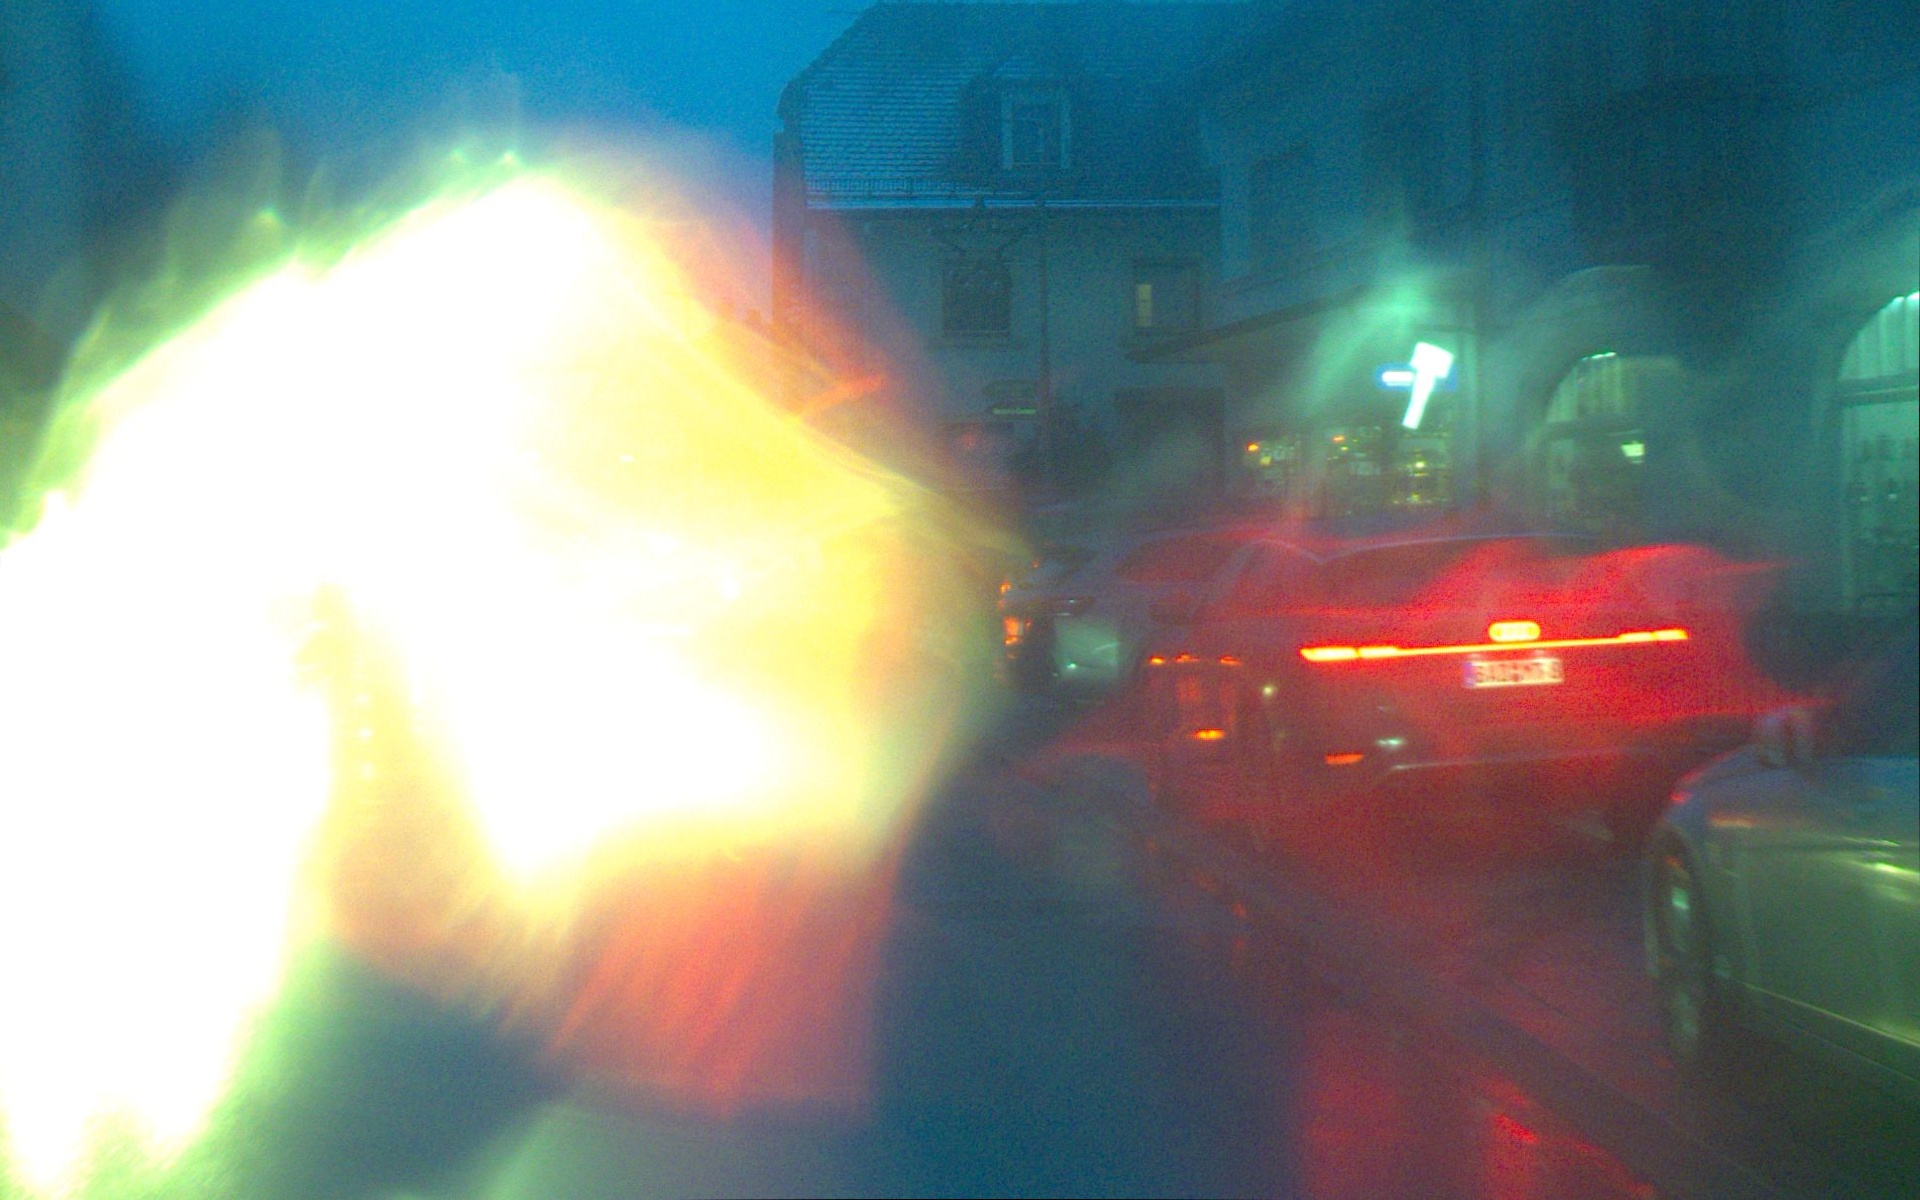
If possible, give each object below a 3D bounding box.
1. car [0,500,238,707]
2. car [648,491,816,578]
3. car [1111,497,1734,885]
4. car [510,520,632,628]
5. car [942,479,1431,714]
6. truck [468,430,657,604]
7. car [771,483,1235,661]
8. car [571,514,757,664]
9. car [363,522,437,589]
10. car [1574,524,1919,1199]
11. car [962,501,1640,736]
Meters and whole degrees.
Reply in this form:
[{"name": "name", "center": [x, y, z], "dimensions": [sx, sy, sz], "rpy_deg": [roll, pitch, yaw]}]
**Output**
[{"name": "car", "center": [-7.258, -0.020, 29.586], "dimensions": [1.794, 1.637, 3.813], "rpy_deg": [1, 2, -8]}, {"name": "car", "center": [-5.688, -1.650, 86.147], "dimensions": [4.097, 2.155, 1.913], "rpy_deg": [0, 1, -1]}, {"name": "car", "center": [2.016, 0.306, 16.468], "dimensions": [1.882, 1.541, 4.672], "rpy_deg": [-2, 2, -6]}, {"name": "car", "center": [-5.651, -0.394, 49.720], "dimensions": [1.637, 1.476, 3.272], "rpy_deg": [1, 1, -8]}, {"name": "car", "center": [1.786, -0.061, 27.514], "dimensions": [3.503, 1.675, 1.716], "rpy_deg": [-3, 2, -13]}, {"name": "truck", "center": [-7.776, -1.594, 66.366], "dimensions": [3.014, 3.118, 8.003], "rpy_deg": [0, 1, -11]}, {"name": "car", "center": [0.431, -0.330, 36.688], "dimensions": [4.602, 1.769, 1.946], "rpy_deg": [-1, 2, -12]}, {"name": "car", "center": [-3.127, -0.142, 35.820], "dimensions": [1.637, 1.476, 3.380], "rpy_deg": [1, 1, -10]}, {"name": "car", "center": [-13.139, -1.065, 80.821], "dimensions": [1.637, 1.530, 3.407], "rpy_deg": [0, 1, -8]}, {"name": "car", "center": [2.780, 0.564, 7.473], "dimensions": [1.794, 1.455, 4.531], "rpy_deg": [-2, 1, -3]}, {"name": "car", "center": [2.392, 0.091, 24.677], "dimensions": [4.465, 1.468, 1.898], "rpy_deg": [-2, 2, -9]}]
